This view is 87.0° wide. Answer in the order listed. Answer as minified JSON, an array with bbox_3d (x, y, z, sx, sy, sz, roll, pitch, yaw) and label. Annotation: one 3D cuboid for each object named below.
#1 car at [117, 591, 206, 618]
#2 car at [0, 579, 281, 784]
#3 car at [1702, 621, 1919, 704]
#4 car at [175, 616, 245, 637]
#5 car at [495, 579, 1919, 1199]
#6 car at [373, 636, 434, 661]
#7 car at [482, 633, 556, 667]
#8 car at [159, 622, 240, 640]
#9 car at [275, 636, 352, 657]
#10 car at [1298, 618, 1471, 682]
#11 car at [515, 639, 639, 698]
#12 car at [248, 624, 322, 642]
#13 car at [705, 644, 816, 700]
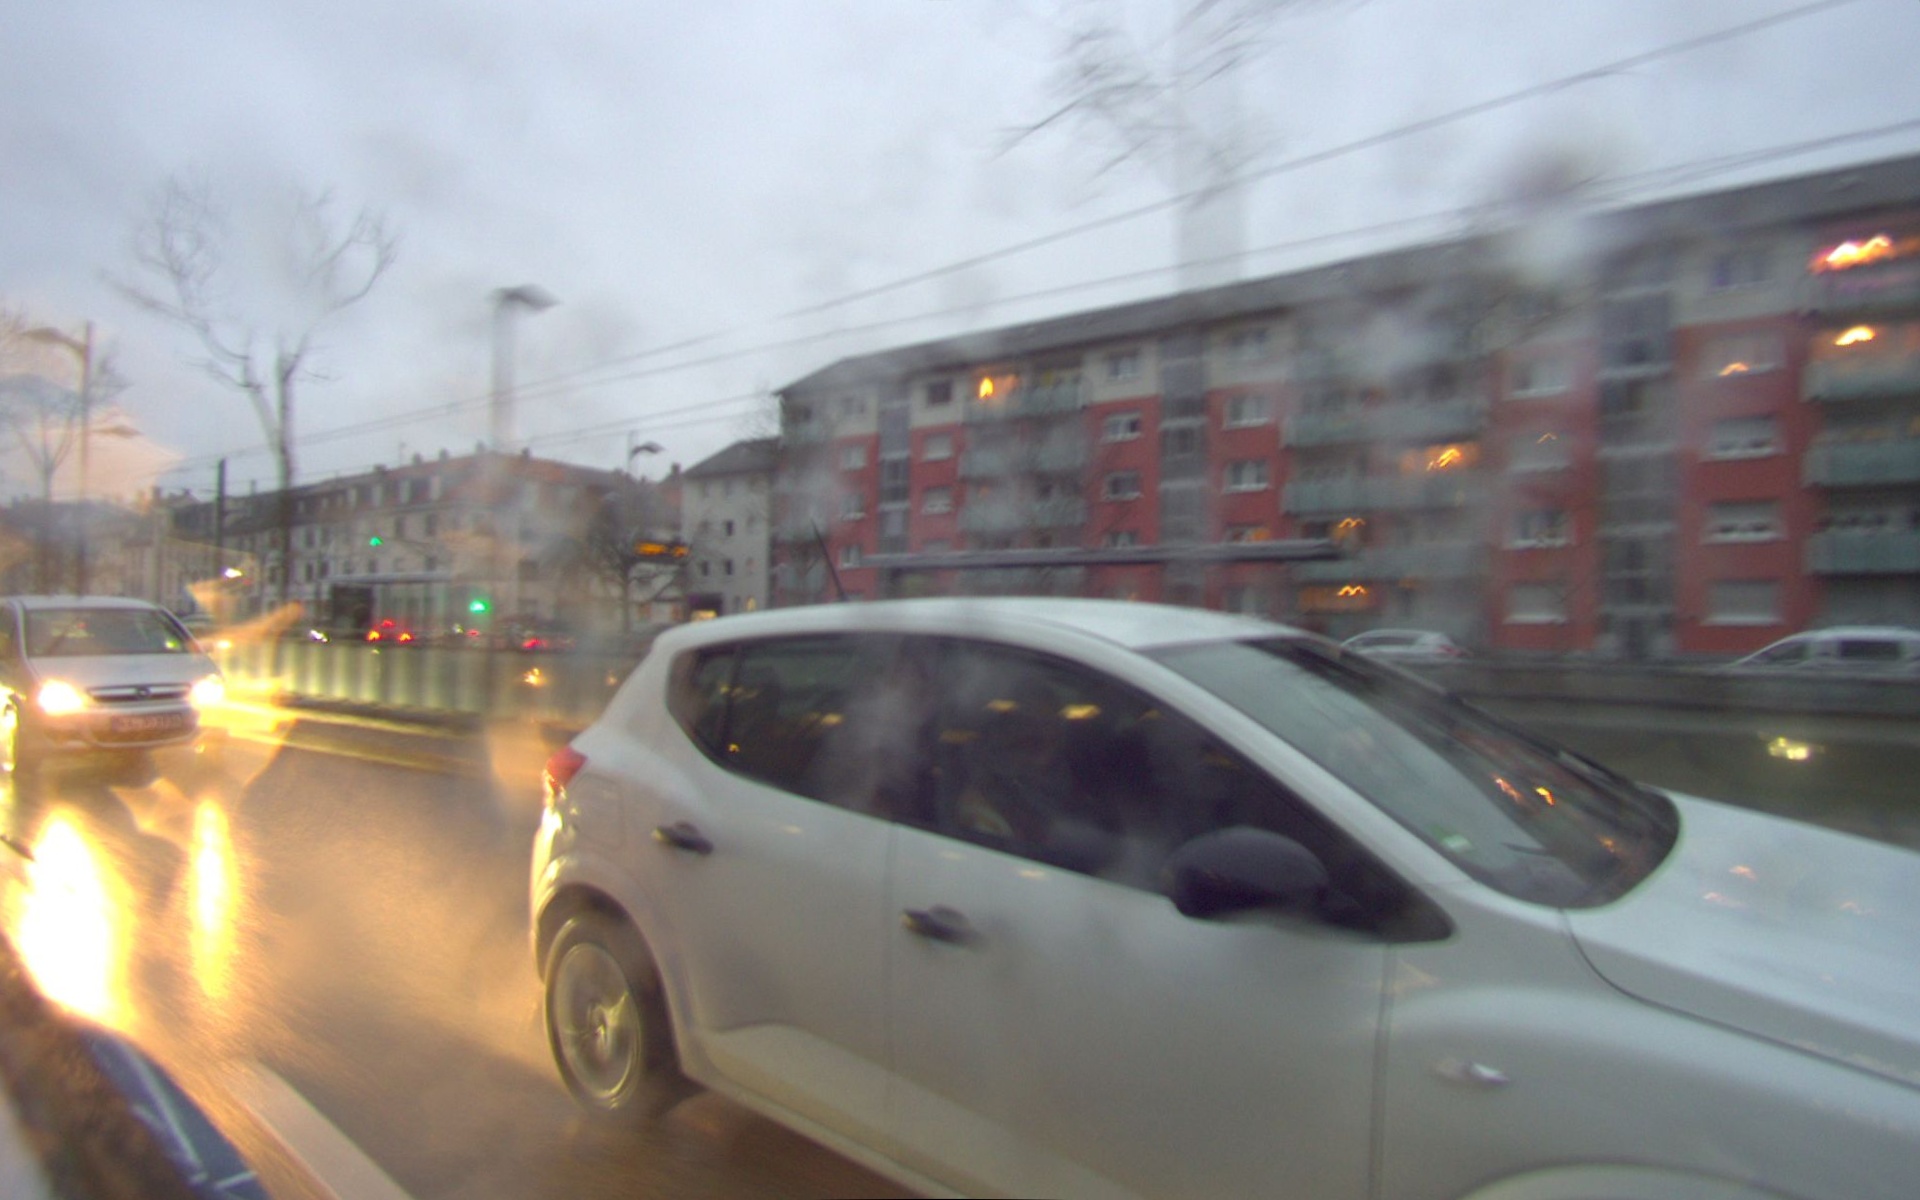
[{"bbox_3d":[-69.766,0.392,88.570,5.807,2.271,1.827,1,-1,-22],"label":"car"},{"bbox_3d":[-8.869,0.670,10.403,3.995,1.690,1.997,1,0,38],"label":"car"},{"bbox_3d":[19.405,1.351,22.954,4.144,1.658,1.709,1,0,37],"label":"car"},{"bbox_3d":[-56.100,1.960,75.750,3.943,1.516,1.317,1,-1,-20],"label":"car"},{"bbox_3d":[0.604,0.717,2.527,3.998,1.477,1.690,1,0,41],"label":"car"},{"bbox_3d":[-22.648,1.952,41.167,2.485,0.945,1.134,0,-2,34],"label":"car"},{"bbox_3d":[-20.212,2.262,46.336,3.368,1.368,1.573,1,0,35],"label":"car"},{"bbox_3d":[-53.409,2.176,71.118,4.329,1.140,1.252,2,-1,-22],"label":"car"},{"bbox_3d":[-41.340,2.962,64.771,3.930,1.265,1.449,1,0,-22],"label":"car"},{"bbox_3d":[11.756,1.324,28.133,4.145,1.555,1.708,1,0,38],"label":"car"},{"bbox_3d":[-14.559,2.542,38.403,4.891,1.927,2.005,1,0,35],"label":"car"},{"bbox_3d":[-45.520,2.213,68.347,3.931,1.140,1.366,1,0,-20],"label":"car"},{"bbox_3d":[-7.337,2.587,37.066,3.990,1.772,1.677,1,0,35],"label":"car"}]
